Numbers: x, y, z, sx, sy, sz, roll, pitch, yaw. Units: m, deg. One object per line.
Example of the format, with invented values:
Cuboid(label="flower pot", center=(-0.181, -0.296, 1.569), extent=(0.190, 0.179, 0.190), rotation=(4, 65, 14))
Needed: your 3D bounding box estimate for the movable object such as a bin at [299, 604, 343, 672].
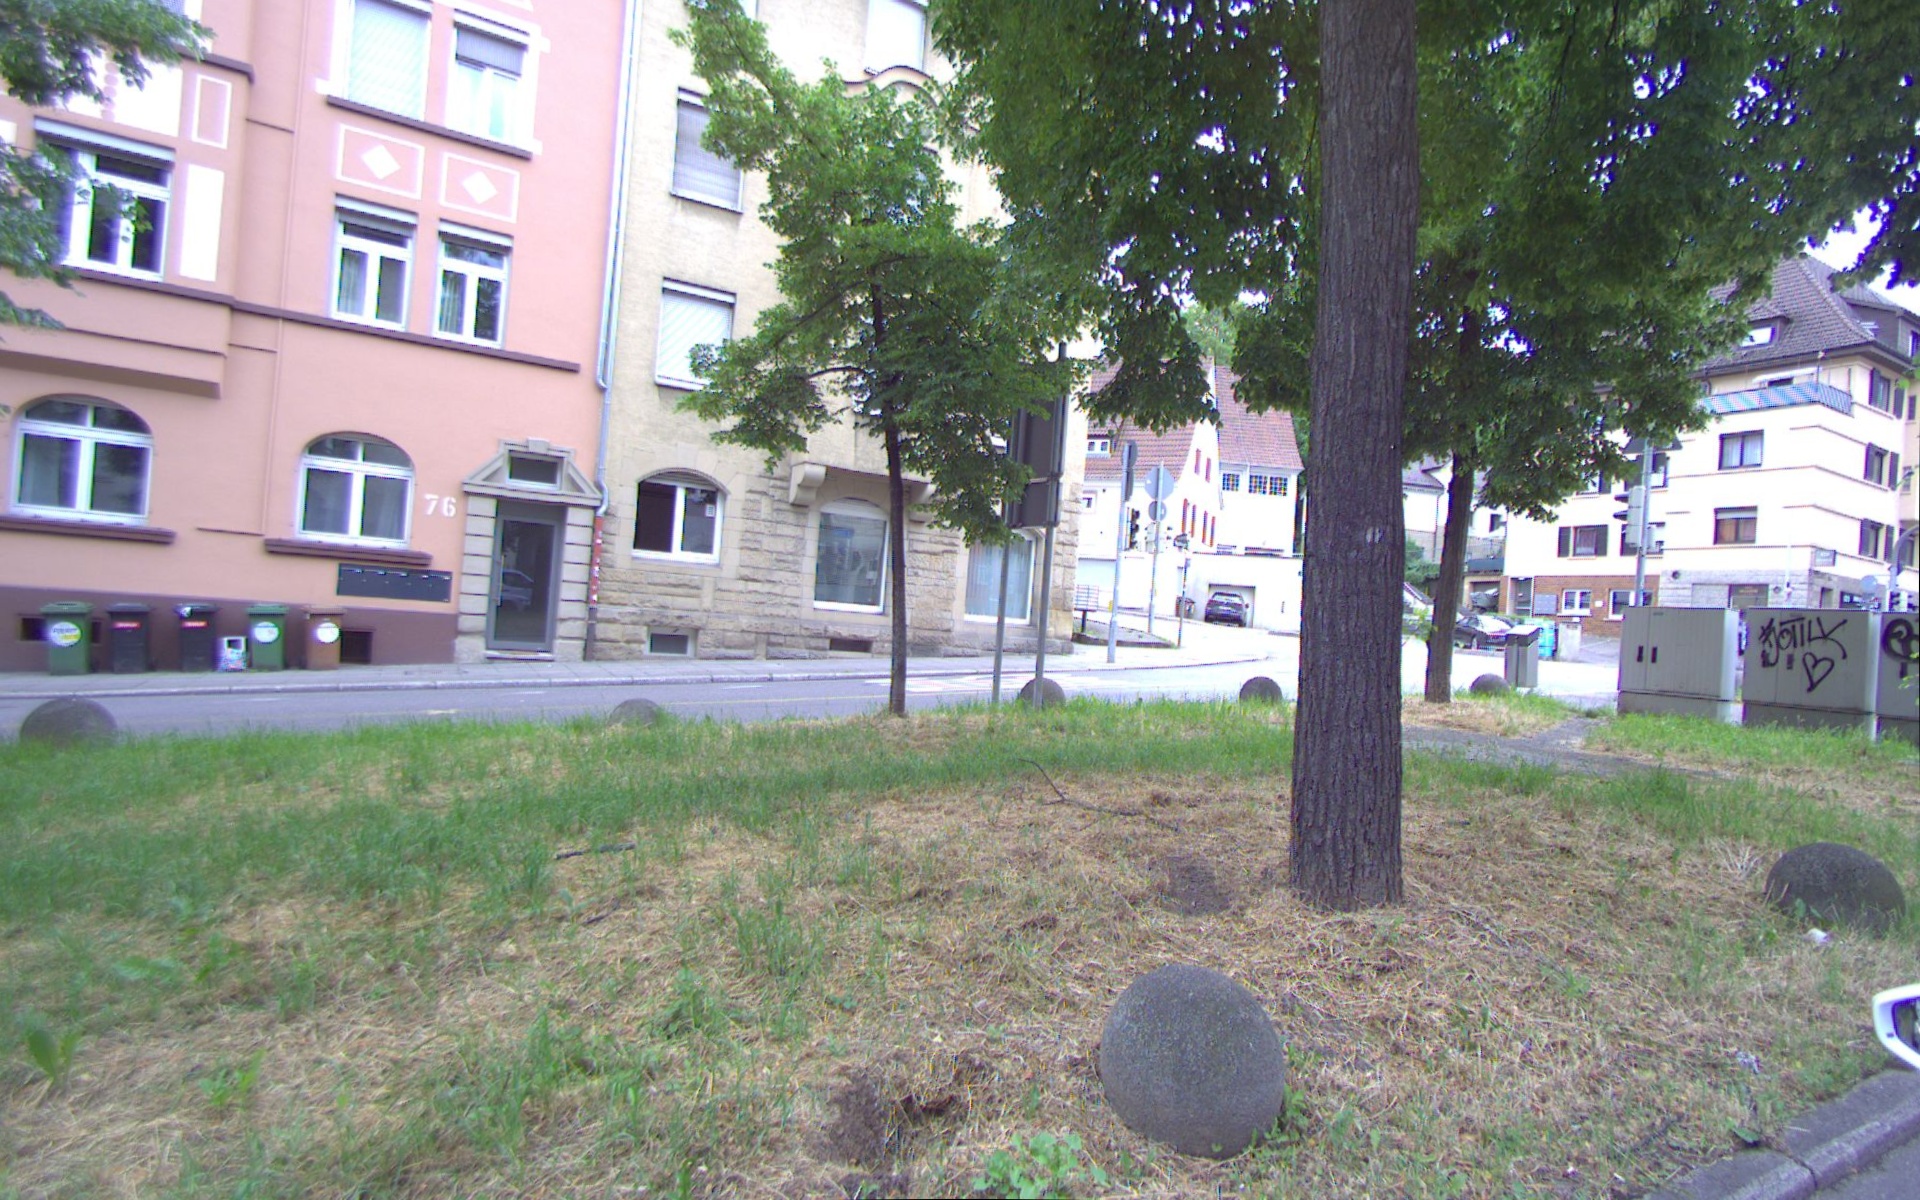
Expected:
Cuboid(label="movable object such as a bin", center=(-9.271, 0.544, 14.570), extent=(0.510, 0.934, 0.752), rotation=(2, 0, -34))

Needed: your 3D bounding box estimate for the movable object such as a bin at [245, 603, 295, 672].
Cuboid(label="movable object such as a bin", center=(-9.783, 0.527, 14.256), extent=(0.554, 0.934, 0.649), rotation=(2, 0, -34))

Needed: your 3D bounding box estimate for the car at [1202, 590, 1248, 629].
Cuboid(label="car", center=(11.759, 0.381, 44.771), extent=(1.638, 1.424, 3.058), rotation=(7, 3, 11))

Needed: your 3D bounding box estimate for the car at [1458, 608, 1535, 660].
Cuboid(label="car", center=(21.899, 1.337, 41.138), extent=(1.832, 1.619, 3.519), rotation=(2, 6, 13))

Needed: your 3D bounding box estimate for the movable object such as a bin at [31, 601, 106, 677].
Cuboid(label="movable object such as a bin", center=(-11.652, 0.506, 13.143), extent=(0.611, 0.961, 0.613), rotation=(2, 0, -31))

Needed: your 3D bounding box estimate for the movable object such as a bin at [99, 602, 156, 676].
Cuboid(label="movable object such as a bin", center=(-11.156, 0.512, 13.475), extent=(0.528, 0.958, 0.576), rotation=(2, 0, -36))
